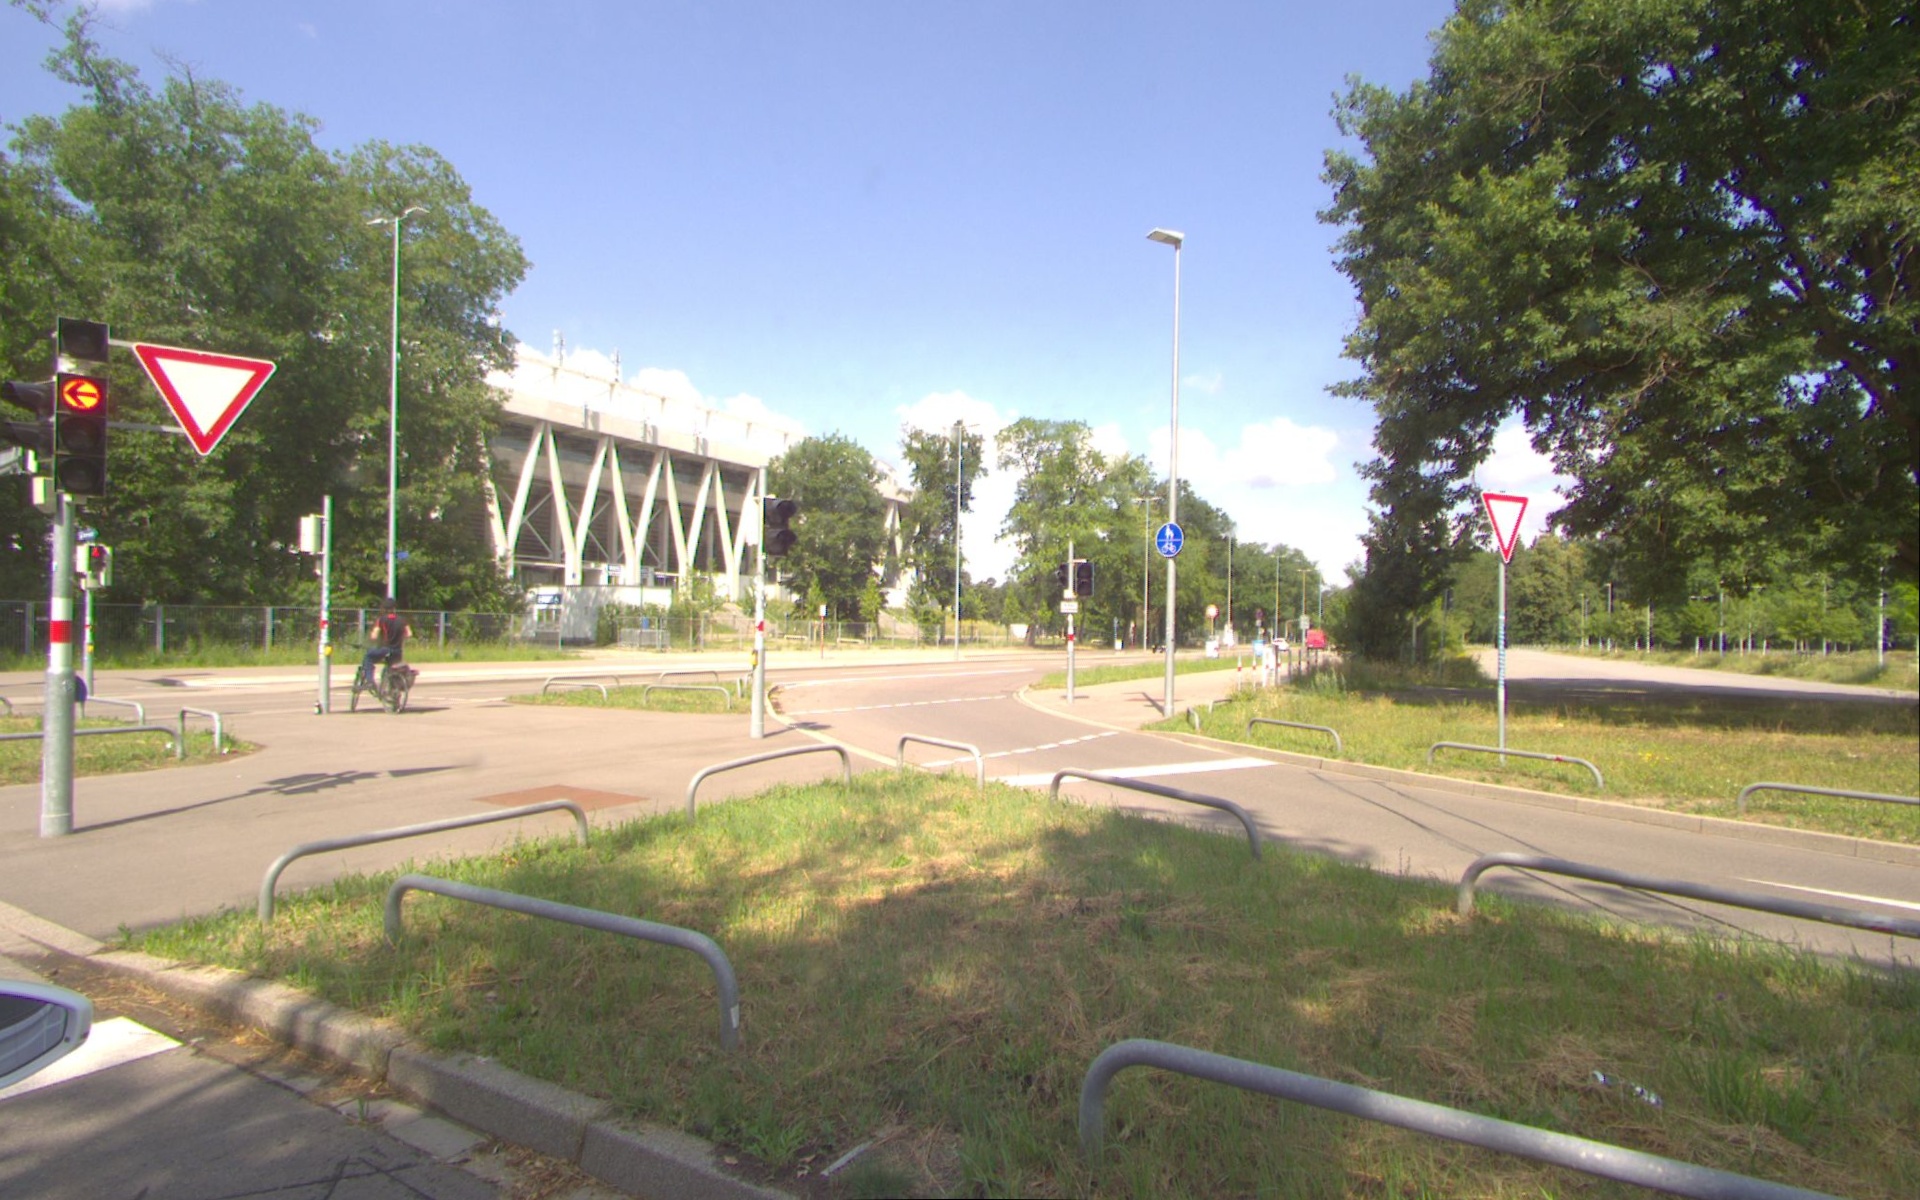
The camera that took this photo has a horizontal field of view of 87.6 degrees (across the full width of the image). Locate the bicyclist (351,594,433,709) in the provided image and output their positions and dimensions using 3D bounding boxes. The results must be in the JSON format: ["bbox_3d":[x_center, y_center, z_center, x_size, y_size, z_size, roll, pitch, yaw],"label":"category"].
[{"bbox_3d":[-9.317,0.836,16.428,0.967,1.820,0.881,-1,-2,40],"label":"bicyclist"}]

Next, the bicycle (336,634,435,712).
[{"bbox_3d":[-9.530,1.170,16.597,1.876,1.221,0.876,-2,-2,42],"label":"bicycle"}]

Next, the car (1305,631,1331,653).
[{"bbox_3d":[40.646,4.788,113.547,2.031,2.440,3.982,-1,-2,31],"label":"car"}]

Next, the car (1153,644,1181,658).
[{"bbox_3d":[21.304,5.263,103.100,1.580,1.395,3.956,-1,-2,32],"label":"car"}]

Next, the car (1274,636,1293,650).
[{"bbox_3d":[37.440,4.958,115.983,1.334,1.544,3.460,-1,-2,31],"label":"car"}]
